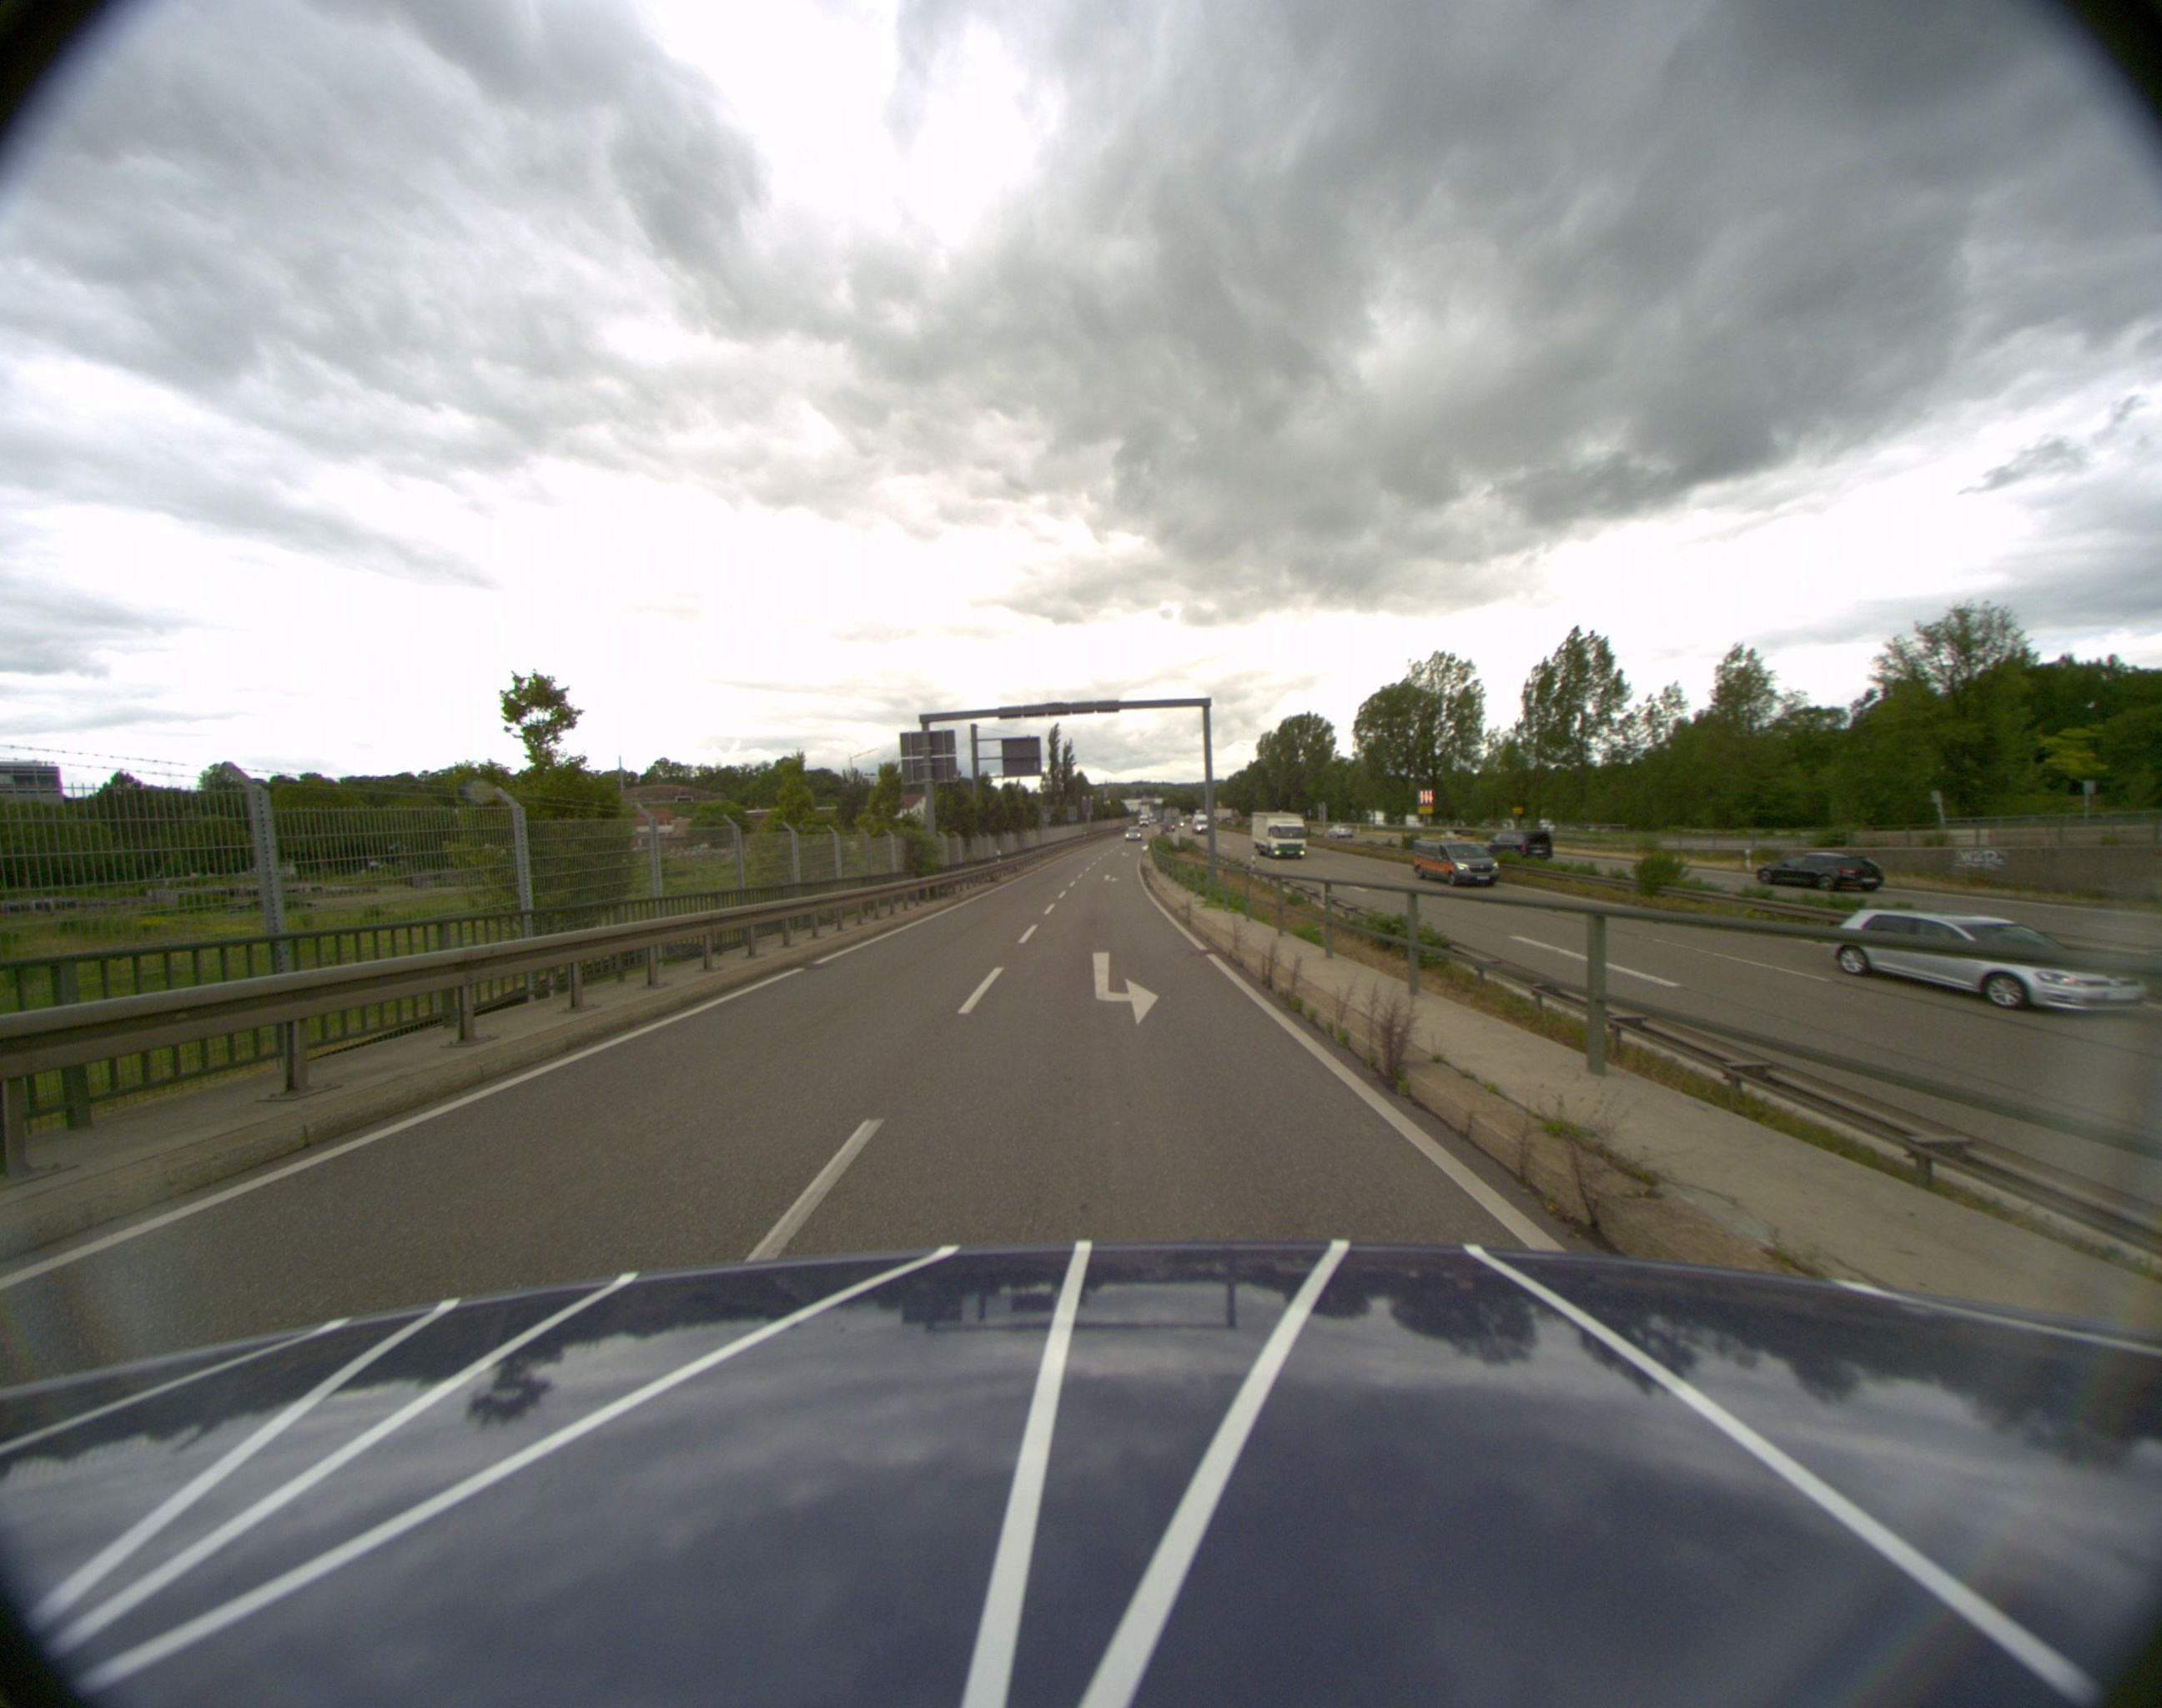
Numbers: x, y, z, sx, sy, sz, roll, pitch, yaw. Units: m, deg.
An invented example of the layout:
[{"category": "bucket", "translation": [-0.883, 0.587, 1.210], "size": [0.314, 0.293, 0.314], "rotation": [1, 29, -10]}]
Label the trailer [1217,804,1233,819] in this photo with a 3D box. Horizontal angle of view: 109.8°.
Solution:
[{"category": "trailer", "translation": [41.746, -12.425, 220.202], "size": [2.796, 3.928, 13.507], "rotation": [-3, 3, 4]}]

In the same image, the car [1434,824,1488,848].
[{"category": "car", "translation": [30.850, -1.514, 61.859], "size": [1.998, 1.711, 4.700], "rotation": [-1, 4, 0]}]

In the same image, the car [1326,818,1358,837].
[{"category": "car", "translation": [29.048, -2.982, 84.651], "size": [1.998, 1.684, 4.698], "rotation": [-1, 7, 1]}]

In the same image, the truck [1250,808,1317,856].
[{"category": "truck", "translation": [14.737, -1.717, 55.852], "size": [3.039, 3.142, 7.563], "rotation": [-1, 4, 1]}]

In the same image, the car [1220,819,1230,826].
[{"category": "car", "translation": [36.018, -7.937, 190.481], "size": [1.998, 1.743, 3.999], "rotation": [-1, 3, 5]}]

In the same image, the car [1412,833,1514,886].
[{"category": "car", "translation": [17.699, 0.173, 35.566], "size": [2.099, 2.003, 5.335], "rotation": [-1, 4, 0]}]

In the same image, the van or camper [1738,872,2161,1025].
[{"category": "van or camper", "translation": [17.140, 1.626, 15.566], "size": [1.887, 1.859, 6.343], "rotation": [-3, 4, 1]}]

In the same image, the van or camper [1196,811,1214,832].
[{"category": "van or camper", "translation": [17.245, -4.584, 106.141], "size": [2.209, 2.590, 6.327], "rotation": [-2, 4, 7]}]

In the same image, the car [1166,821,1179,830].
[{"category": "car", "translation": [14.716, -4.565, 122.189], "size": [1.998, 1.392, 4.000], "rotation": [-1, 3, 6]}]

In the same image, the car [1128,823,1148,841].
[{"category": "car", "translation": [6.743, -2.567, 90.099], "size": [1.997, 2.002, 4.002], "rotation": [0, 1, 9]}]

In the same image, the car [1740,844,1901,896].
[{"category": "car", "translation": [29.948, 0.586, 31.030], "size": [1.998, 1.683, 4.700], "rotation": [-1, 4, 1]}]

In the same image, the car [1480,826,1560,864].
[{"category": "car", "translation": [27.080, -0.605, 47.075], "size": [2.097, 1.978, 5.112], "rotation": [-1, 4, 2]}]
